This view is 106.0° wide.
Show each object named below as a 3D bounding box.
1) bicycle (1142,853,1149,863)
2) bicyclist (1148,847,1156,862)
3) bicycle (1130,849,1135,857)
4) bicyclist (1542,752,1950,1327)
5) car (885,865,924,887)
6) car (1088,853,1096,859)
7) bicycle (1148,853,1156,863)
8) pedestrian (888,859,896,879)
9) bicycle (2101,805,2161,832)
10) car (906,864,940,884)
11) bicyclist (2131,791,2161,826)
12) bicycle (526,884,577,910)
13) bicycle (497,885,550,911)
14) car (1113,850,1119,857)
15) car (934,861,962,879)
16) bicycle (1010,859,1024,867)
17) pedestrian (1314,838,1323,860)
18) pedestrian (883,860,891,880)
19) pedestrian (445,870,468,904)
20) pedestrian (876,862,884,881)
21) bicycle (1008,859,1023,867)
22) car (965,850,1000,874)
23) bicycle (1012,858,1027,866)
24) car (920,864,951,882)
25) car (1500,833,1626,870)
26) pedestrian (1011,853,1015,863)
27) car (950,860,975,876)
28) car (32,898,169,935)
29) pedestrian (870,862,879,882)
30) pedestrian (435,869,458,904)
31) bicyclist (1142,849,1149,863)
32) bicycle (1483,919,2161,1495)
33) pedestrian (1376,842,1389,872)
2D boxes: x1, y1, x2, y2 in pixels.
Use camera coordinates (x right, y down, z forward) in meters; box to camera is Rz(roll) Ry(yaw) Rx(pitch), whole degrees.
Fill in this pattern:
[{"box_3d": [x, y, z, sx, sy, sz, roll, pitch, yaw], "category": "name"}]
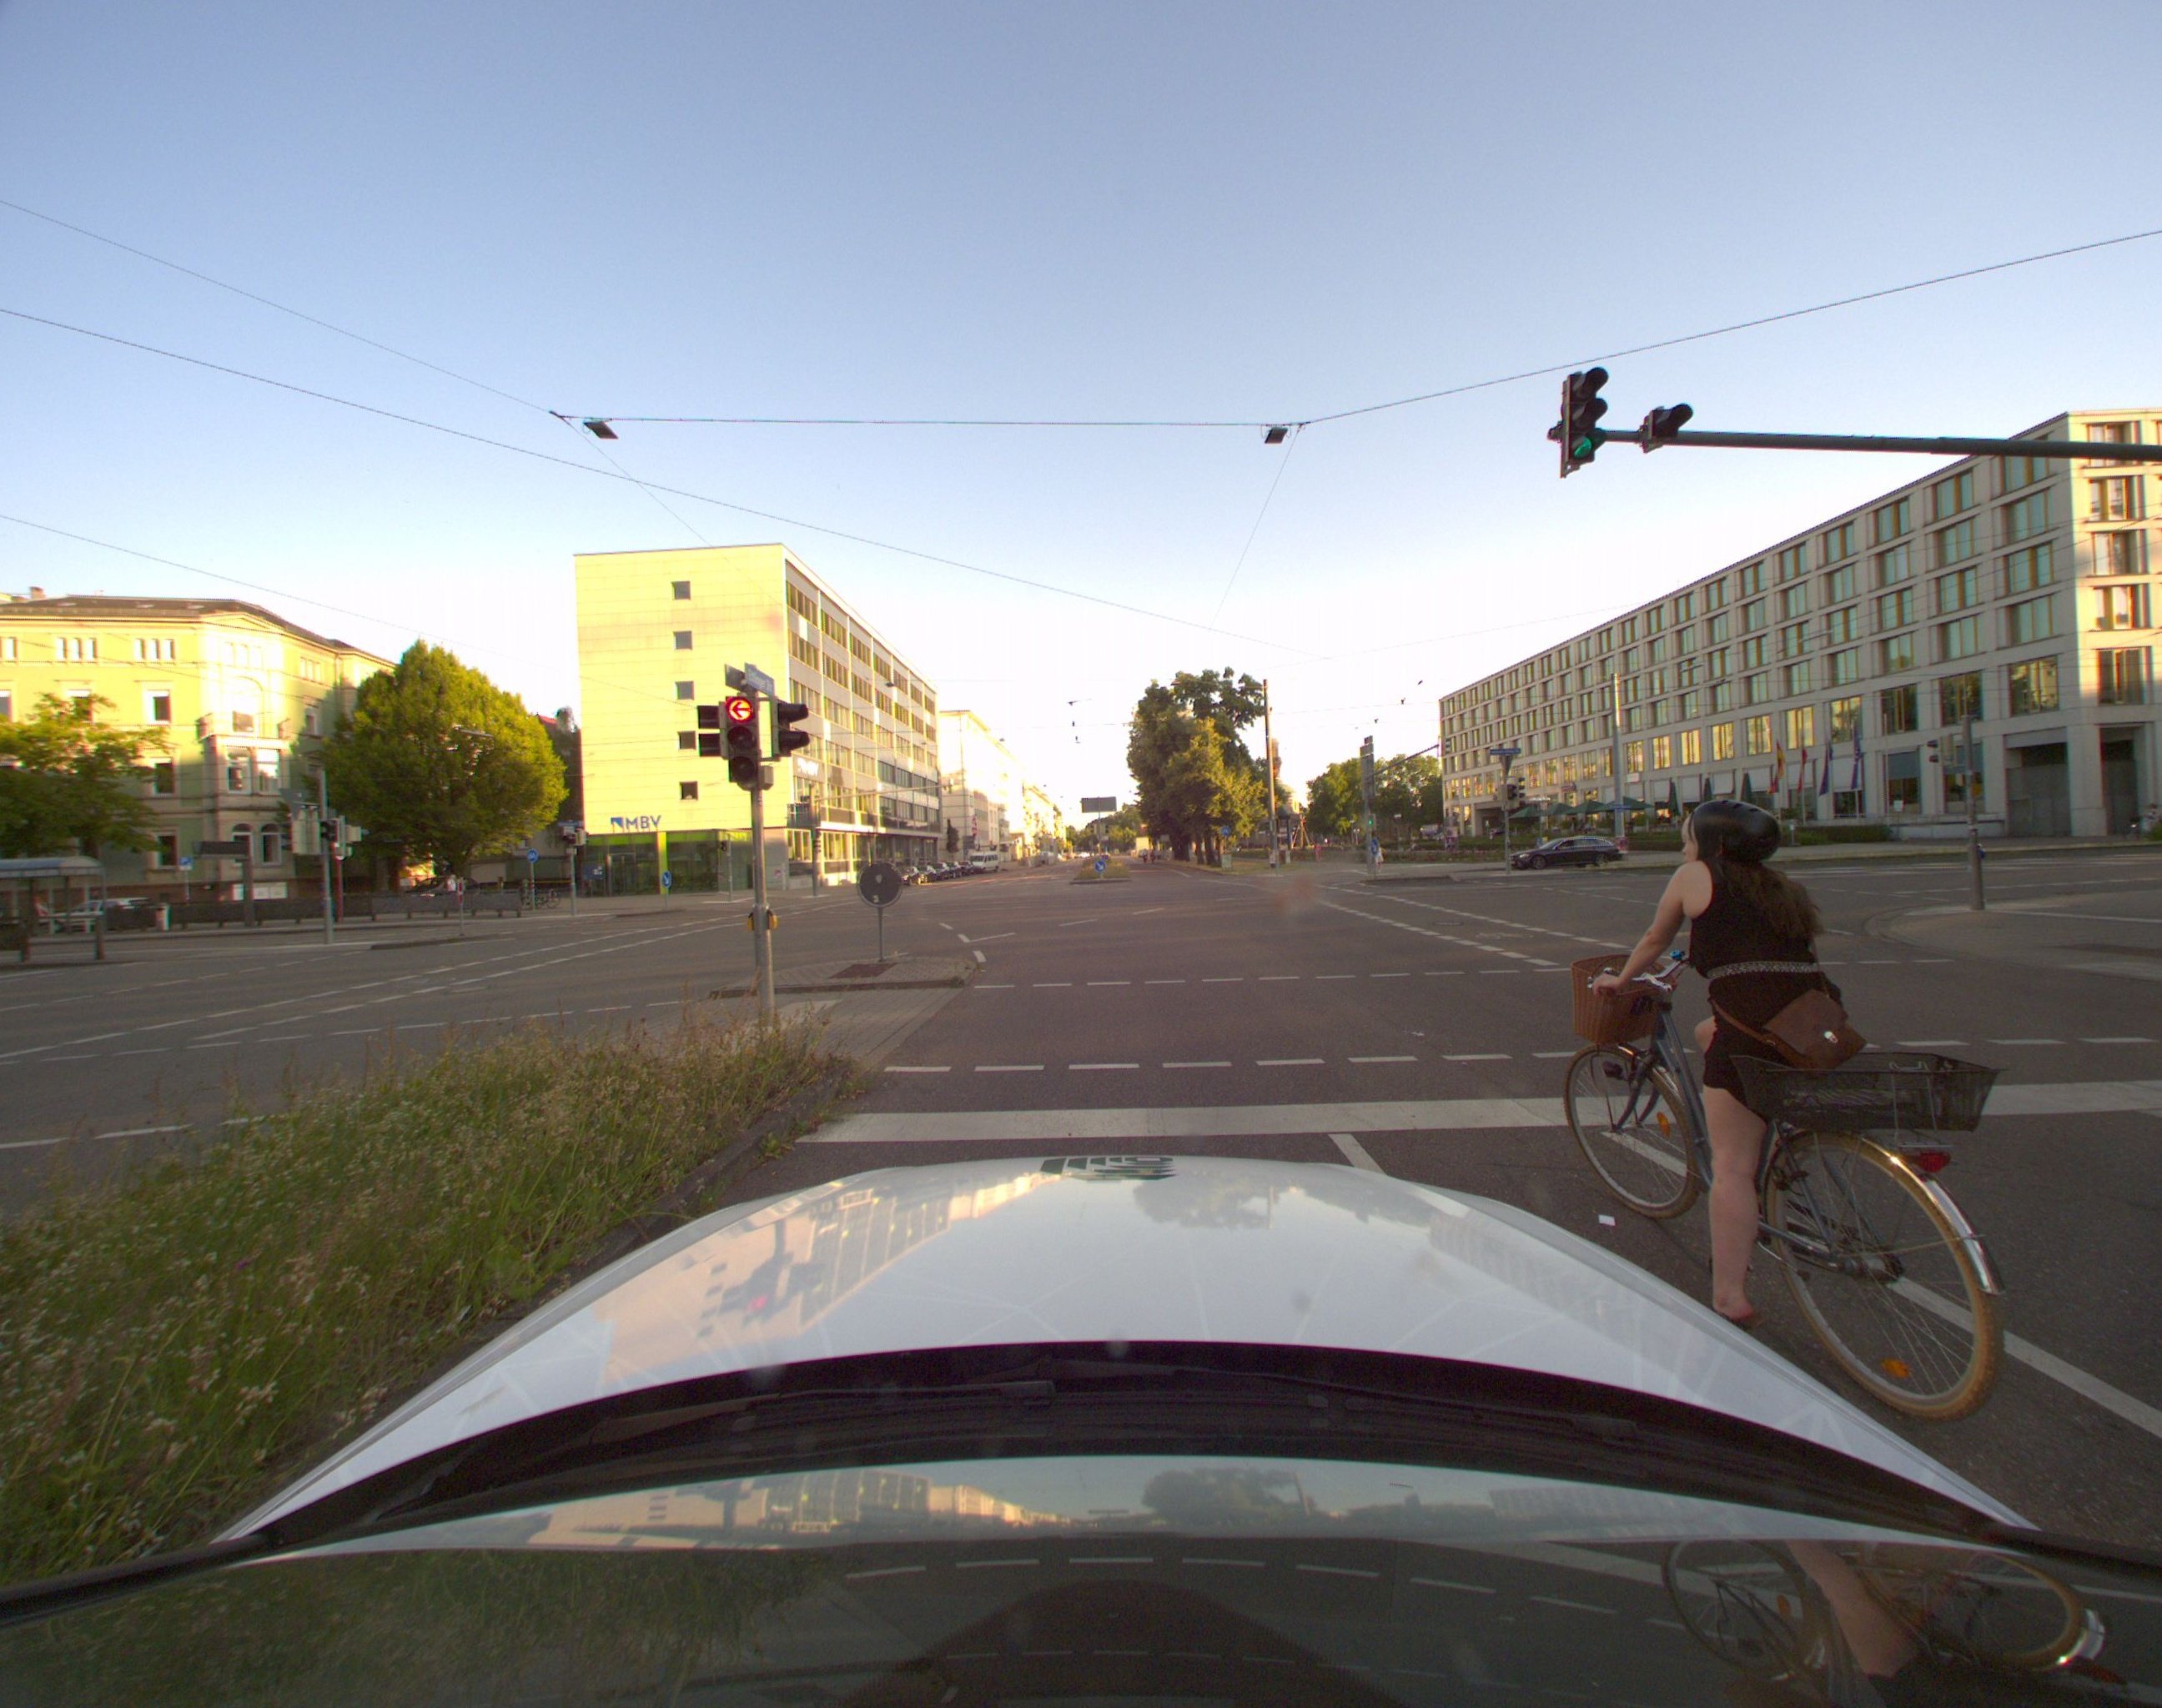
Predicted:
[{"box_3d": [7.747, 0.475, 97.642, 0.744, 1.144, 2.506, -3, 0, 2], "category": "bicycle"}, {"box_3d": [8.505, 0.073, 97.425, 0.744, 1.691, 0.799, -3, 0, 1], "category": "bicyclist"}, {"box_3d": [13.136, -0.259, 208.266, 0.998, 2.013, 4.002, -3, 0, 2], "category": "bicycle"}, {"box_3d": [2.181, 0.529, 2.828, 0.597, 1.636, 0.999, -1, 0, 2], "category": "bicyclist"}, {"box_3d": [-13.509, 1.665, 62.411, 1.913, 1.464, 4.105, -3, 0, 2], "category": "car"}, {"box_3d": [2.989, 0.470, 219.236, 1.855, 1.519, 4.003, -3, 0, 3], "category": "car"}, {"box_3d": [8.529, 0.496, 97.455, 0.744, 1.144, 2.506, -3, 0, 2], "category": "bicycle"}, {"box_3d": [-16.694, 1.316, 71.956, 0.549, 1.679, 0.500, -3, 0, 1], "category": "pedestrian"}, {"box_3d": [48.177, -1.613, 37.058, 2.762, 1.106, 0.602, -3, 0, -1], "category": "bicycle"}, {"box_3d": [-13.313, 1.651, 68.907, 1.913, 1.464, 4.002, -3, 0, 2], "category": "car"}, {"box_3d": [48.530, -2.081, 37.063, 0.705, 1.537, 0.577, -3, 0, -1], "category": "bicyclist"}, {"box_3d": [-25.897, 2.090, 39.857, 0.832, 1.112, 2.216, -3, 0, 6], "category": "bicycle"}, {"box_3d": [-27.107, 2.129, 39.628, 0.832, 1.112, 2.216, -3, 0, 6], "category": "bicycle"}, {"box_3d": [9.565, -0.131, 223.578, 1.403, 1.641, 4.000, -3, 0, 1], "category": "car"}, {"box_3d": [-12.853, 1.579, 79.022, 1.913, 1.568, 4.002, -3, 0, 2], "category": "car"}, {"box_3d": [-10.006, 1.343, 127.360, 2.198, 1.112, 0.689, -3, 0, 0], "category": "bicycle"}, {"box_3d": [17.732, -0.378, 60.762, 0.458, 1.656, 0.567, -3, 0, 1], "category": "pedestrian"}, {"box_3d": [-17.245, 1.411, 72.462, 0.498, 1.679, 0.500, -3, 0, 1], "category": "pedestrian"}, {"box_3d": [-33.811, 1.769, 44.090, 0.641, 1.790, 0.720, -3, 0, -12], "category": "pedestrian"}, {"box_3d": [-17.884, 1.525, 72.481, 0.549, 1.679, 0.500, -3, 0, 1], "category": "pedestrian"}, {"box_3d": [-10.085, 1.327, 125.972, 2.198, 1.112, 0.619, -3, 0, 0], "category": "bicycle"}, {"box_3d": [-11.059, 0.872, 91.680, 1.988, 2.478, 5.888, -3, 0, 12], "category": "car"}, {"box_3d": [-9.807, 1.293, 129.331, 2.198, 1.236, 0.839, -3, 0, 0], "category": "bicycle"}, {"box_3d": [-13.105, 1.689, 73.720, 1.913, 1.464, 4.002, -3, 0, 2], "category": "car"}, {"box_3d": [23.130, -0.123, 39.211, 4.803, 1.515, 2.002, -3, 0, 4], "category": "car"}, {"box_3d": [-13.851, 0.805, 165.305, 0.677, 2.013, 0.545, -3, 0, 1], "category": "pedestrian"}, {"box_3d": [-12.385, 1.451, 85.245, 1.913, 1.568, 4.002, -3, 0, 2], "category": "car"}, {"box_3d": [-45.238, 2.852, 37.668, 3.588, 1.372, 1.833, -3, 0, -15], "category": "car"}, {"box_3d": [-18.215, 1.574, 71.763, 0.549, 1.679, 0.500, -3, 0, 1], "category": "pedestrian"}, {"box_3d": [-33.755, 1.725, 43.325, 0.641, 1.790, 0.720, -3, 0, -12], "category": "pedestrian"}, {"box_3d": [7.704, 0.194, 97.342, 0.744, 1.663, 0.873, -3, 0, 1], "category": "bicyclist"}, {"box_3d": [2.184, 0.880, 2.846, 0.609, 1.132, 2.005, -1, 0, 2], "category": "bicycle"}, {"box_3d": [15.934, 0.143, 43.049, 0.489, 1.540, 0.408, -3, 0, 1], "category": "pedestrian"}]
